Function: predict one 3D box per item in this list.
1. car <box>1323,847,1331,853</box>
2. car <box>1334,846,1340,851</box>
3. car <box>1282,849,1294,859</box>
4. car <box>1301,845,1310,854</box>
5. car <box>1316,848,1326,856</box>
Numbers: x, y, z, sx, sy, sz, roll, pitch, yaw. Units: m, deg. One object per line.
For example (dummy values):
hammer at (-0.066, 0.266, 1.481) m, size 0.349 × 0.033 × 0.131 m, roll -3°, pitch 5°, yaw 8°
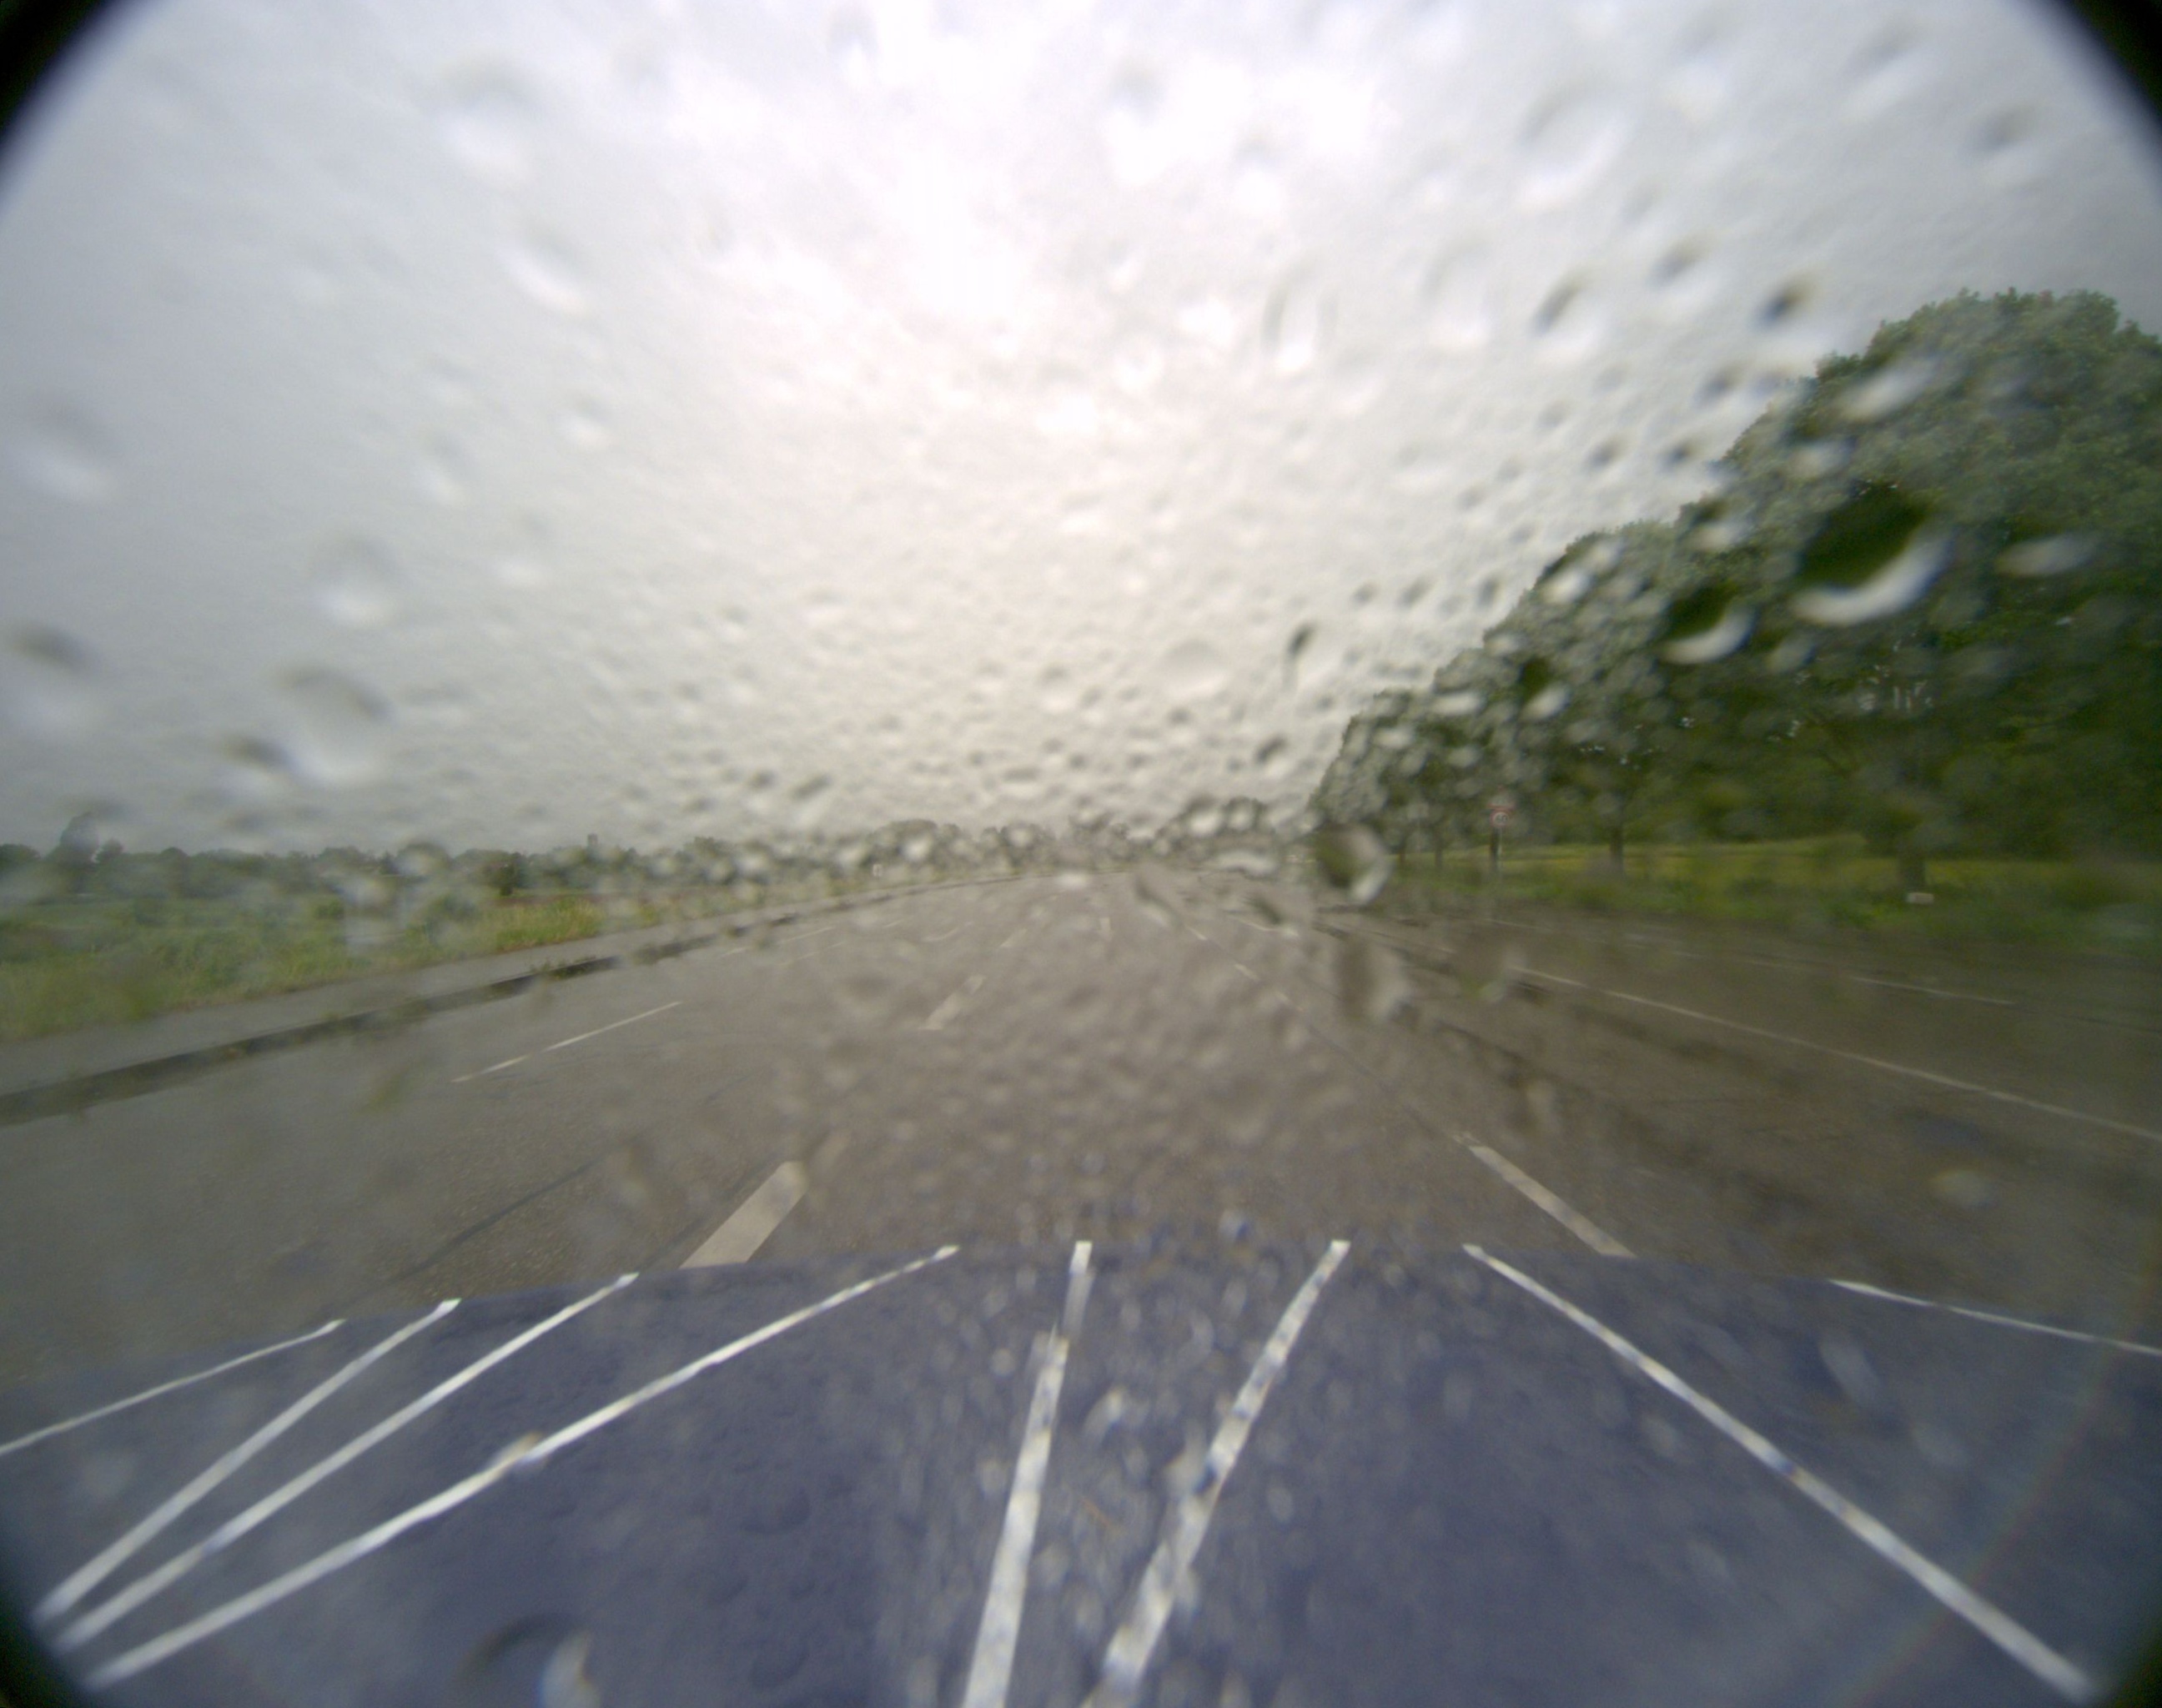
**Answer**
car at (60.380, -0.987, 186.861) m, size 1.741 × 1.479 × 4.015 m, roll 1°, pitch 1°, yaw 16°
car at (79.345, -1.716, 235.600) m, size 1.926 × 1.733 × 4.294 m, roll 1°, pitch 1°, yaw 18°
car at (35.888, 0.004, 131.728) m, size 1.881 × 1.564 × 4.649 m, roll 0°, pitch 1°, yaw 13°
car at (49.855, -0.924, 168.731) m, size 1.741 × 1.979 × 4.016 m, roll 1°, pitch 1°, yaw 17°
car at (54.283, -0.465, 172.143) m, size 1.887 × 1.578 × 4.123 m, roll -3°, pitch 0°, yaw 15°
